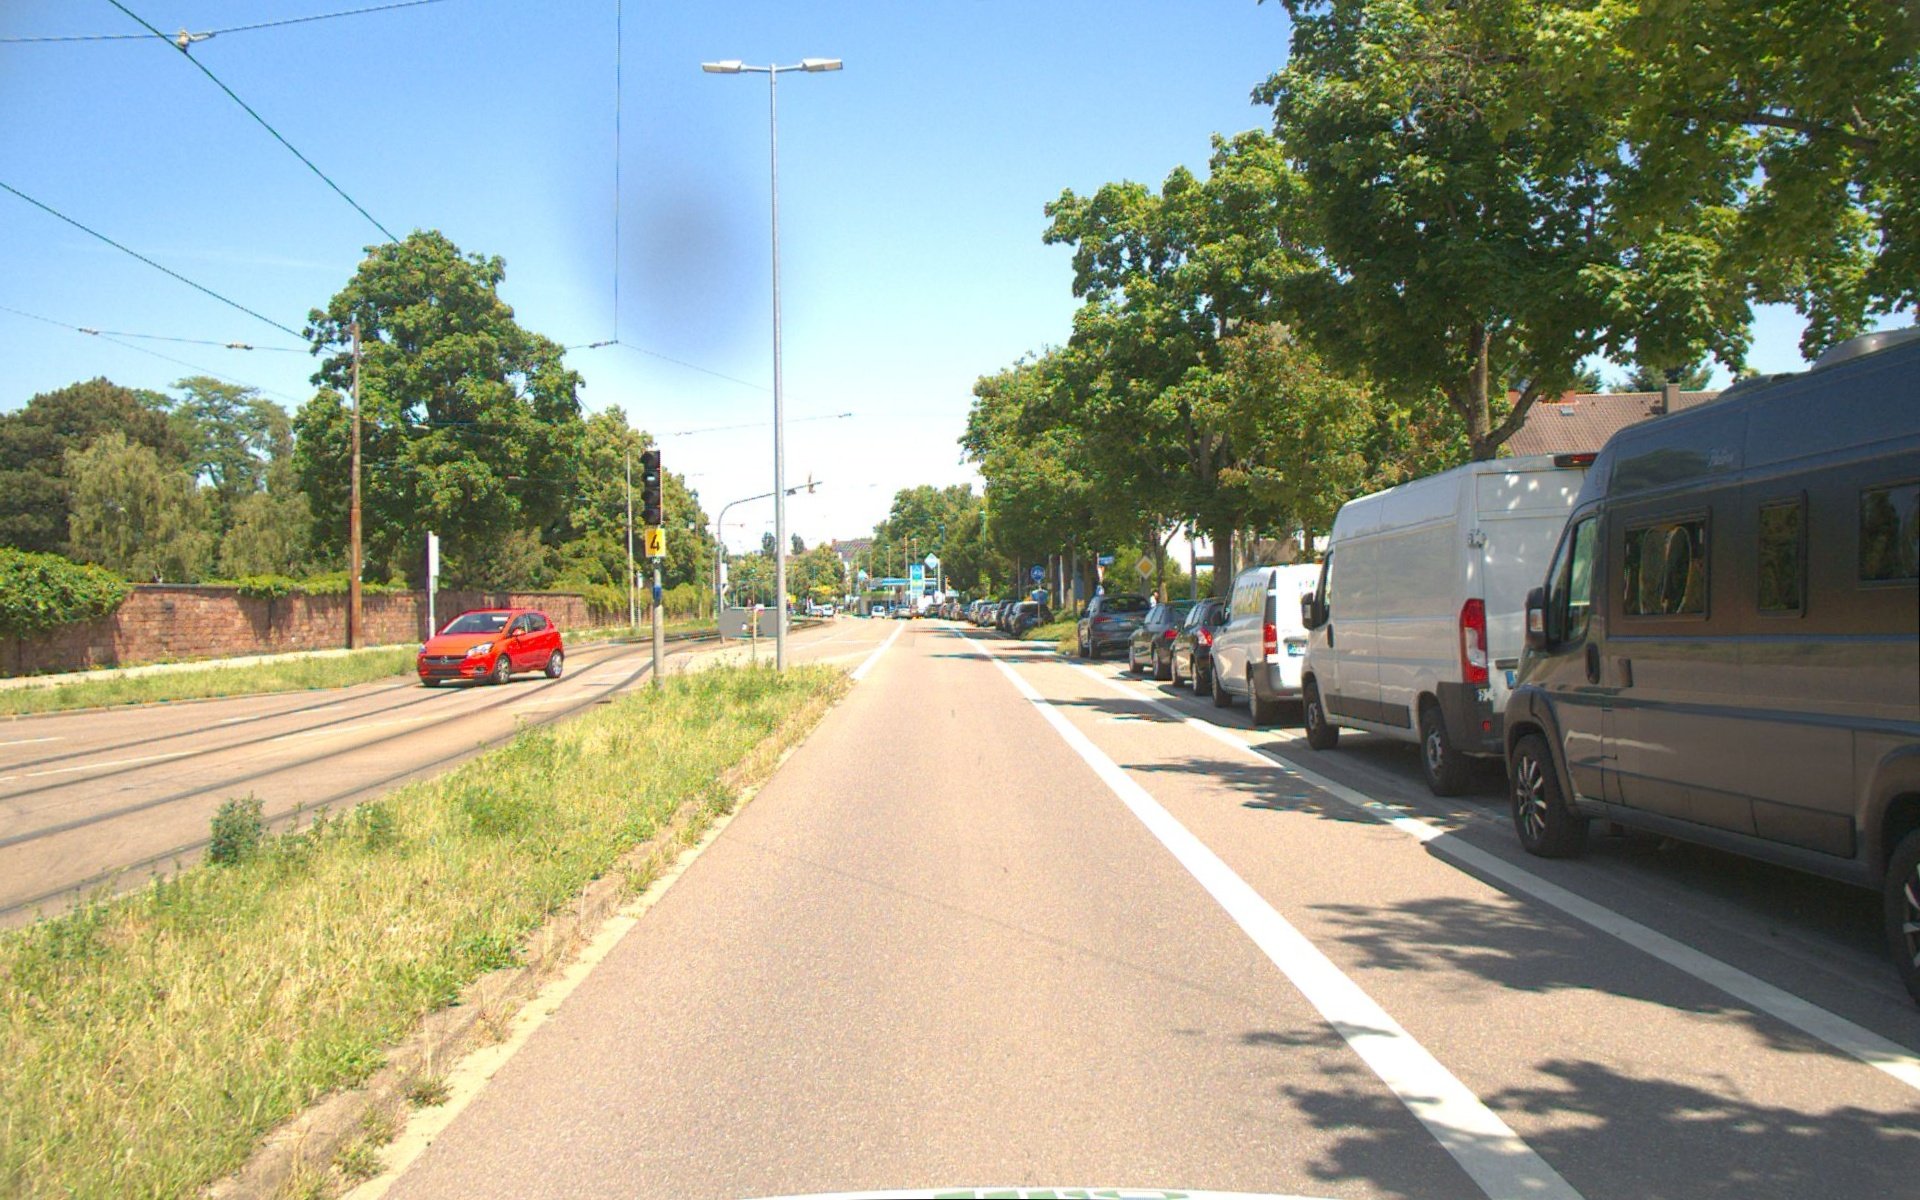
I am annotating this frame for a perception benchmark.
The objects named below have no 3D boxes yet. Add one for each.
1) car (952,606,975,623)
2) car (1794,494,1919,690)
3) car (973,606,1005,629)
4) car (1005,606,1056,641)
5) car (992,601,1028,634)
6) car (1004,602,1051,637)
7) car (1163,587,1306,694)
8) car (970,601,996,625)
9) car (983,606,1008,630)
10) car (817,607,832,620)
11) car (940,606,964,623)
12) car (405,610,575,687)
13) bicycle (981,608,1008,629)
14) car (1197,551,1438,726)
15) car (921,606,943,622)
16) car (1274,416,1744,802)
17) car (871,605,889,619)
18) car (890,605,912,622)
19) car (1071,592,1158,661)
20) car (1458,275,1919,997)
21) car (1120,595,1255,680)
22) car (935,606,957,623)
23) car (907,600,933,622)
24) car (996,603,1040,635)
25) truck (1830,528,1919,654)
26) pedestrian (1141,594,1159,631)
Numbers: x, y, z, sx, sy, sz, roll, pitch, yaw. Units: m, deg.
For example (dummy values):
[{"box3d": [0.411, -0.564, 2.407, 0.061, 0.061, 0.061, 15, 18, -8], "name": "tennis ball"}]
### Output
[{"box3d": [0.310, 1.418, 158.423, 1.674, 1.518, 5.032, -3, 0, -5], "name": "car"}, {"box3d": [14.506, -0.044, 22.394, 5.378, 2.502, 2.094, 1, 0, -1], "name": "car"}, {"box3d": [2.109, 1.258, 120.454, 1.805, 1.556, 4.961, -3, 0, -4], "name": "car"}, {"box3d": [3.204, 1.057, 75.952, 1.804, 1.461, 4.821, -3, 0, -3], "name": "car"}, {"box3d": [2.818, 0.956, 93.547, 1.803, 1.736, 4.626, -3, 0, 0], "name": "car"}, {"box3d": [3.339, 0.951, 82.357, 1.805, 1.556, 4.202, -3, 0, -4], "name": "car"}, {"box3d": [4.475, 0.624, 27.468, 1.677, 1.567, 3.840, -3, 0, 0], "name": "car"}, {"box3d": [1.849, 1.082, 135.428, 1.804, 1.825, 4.351, -3, 0, -3], "name": "car"}, {"box3d": [2.462, 1.219, 115.456, 1.488, 1.556, 3.815, -3, 0, -1], "name": "car"}, {"box3d": [-21.253, 2.128, 259.359, 1.724, 1.907, 4.313, -3, 0, -10], "name": "car"}, {"box3d": [-0.839, 1.488, 169.569, 1.676, 1.589, 4.312, -3, 0, -11], "name": "car"}, {"box3d": [-9.522, 0.949, 33.859, 1.670, 1.438, 4.285, -1, 0, 10], "name": "car"}, {"box3d": [2.364, 1.276, 113.414, 1.737, 1.249, 0.684, -6, -1, 3], "name": "bicycle"}, {"box3d": [4.507, 0.438, 21.746, 1.957, 1.911, 5.276, -3, 0, 0], "name": "car"}, {"box3d": [-3.134, 1.586, 185.391, 1.724, 1.659, 4.313, -3, 0, -10], "name": "car"}, {"box3d": [4.563, 0.064, 15.048, 1.957, 2.682, 6.140, -3, 0, -2], "name": "car"}, {"box3d": [-10.101, 1.466, 208.926, 1.723, 1.659, 4.315, -3, 0, -9], "name": "car"}, {"box3d": [-5.974, 1.353, 166.892, 1.722, 1.659, 4.317, -3, 0, -7], "name": "car"}, {"box3d": [4.084, 0.699, 44.337, 1.678, 1.661, 4.706, -3, -1, -2], "name": "car"}, {"box3d": [4.478, 0.104, 8.109, 1.957, 2.682, 6.076, -3, 0, -2], "name": "car"}, {"box3d": [4.375, 0.686, 32.446, 1.678, 1.443, 4.705, -3, 0, -3], "name": "car"}, {"box3d": [-1.507, 1.537, 175.465, 1.676, 1.589, 4.314, -3, 0, -9], "name": "car"}, {"box3d": [-4.753, 1.305, 195.463, 1.966, 2.499, 6.092, -3, 0, -11], "name": "car"}, {"box3d": [3.046, 0.981, 87.916, 1.804, 1.556, 4.350, -3, 0, -4], "name": "car"}, {"box3d": [26.671, -0.343, 42.980, 6.808, 3.139, 2.423, -2, 0, -3], "name": "truck"}, {"box3d": [8.996, 0.575, 78.362, 0.733, 1.752, 0.632, 0, -1, -8], "name": "pedestrian"}]
